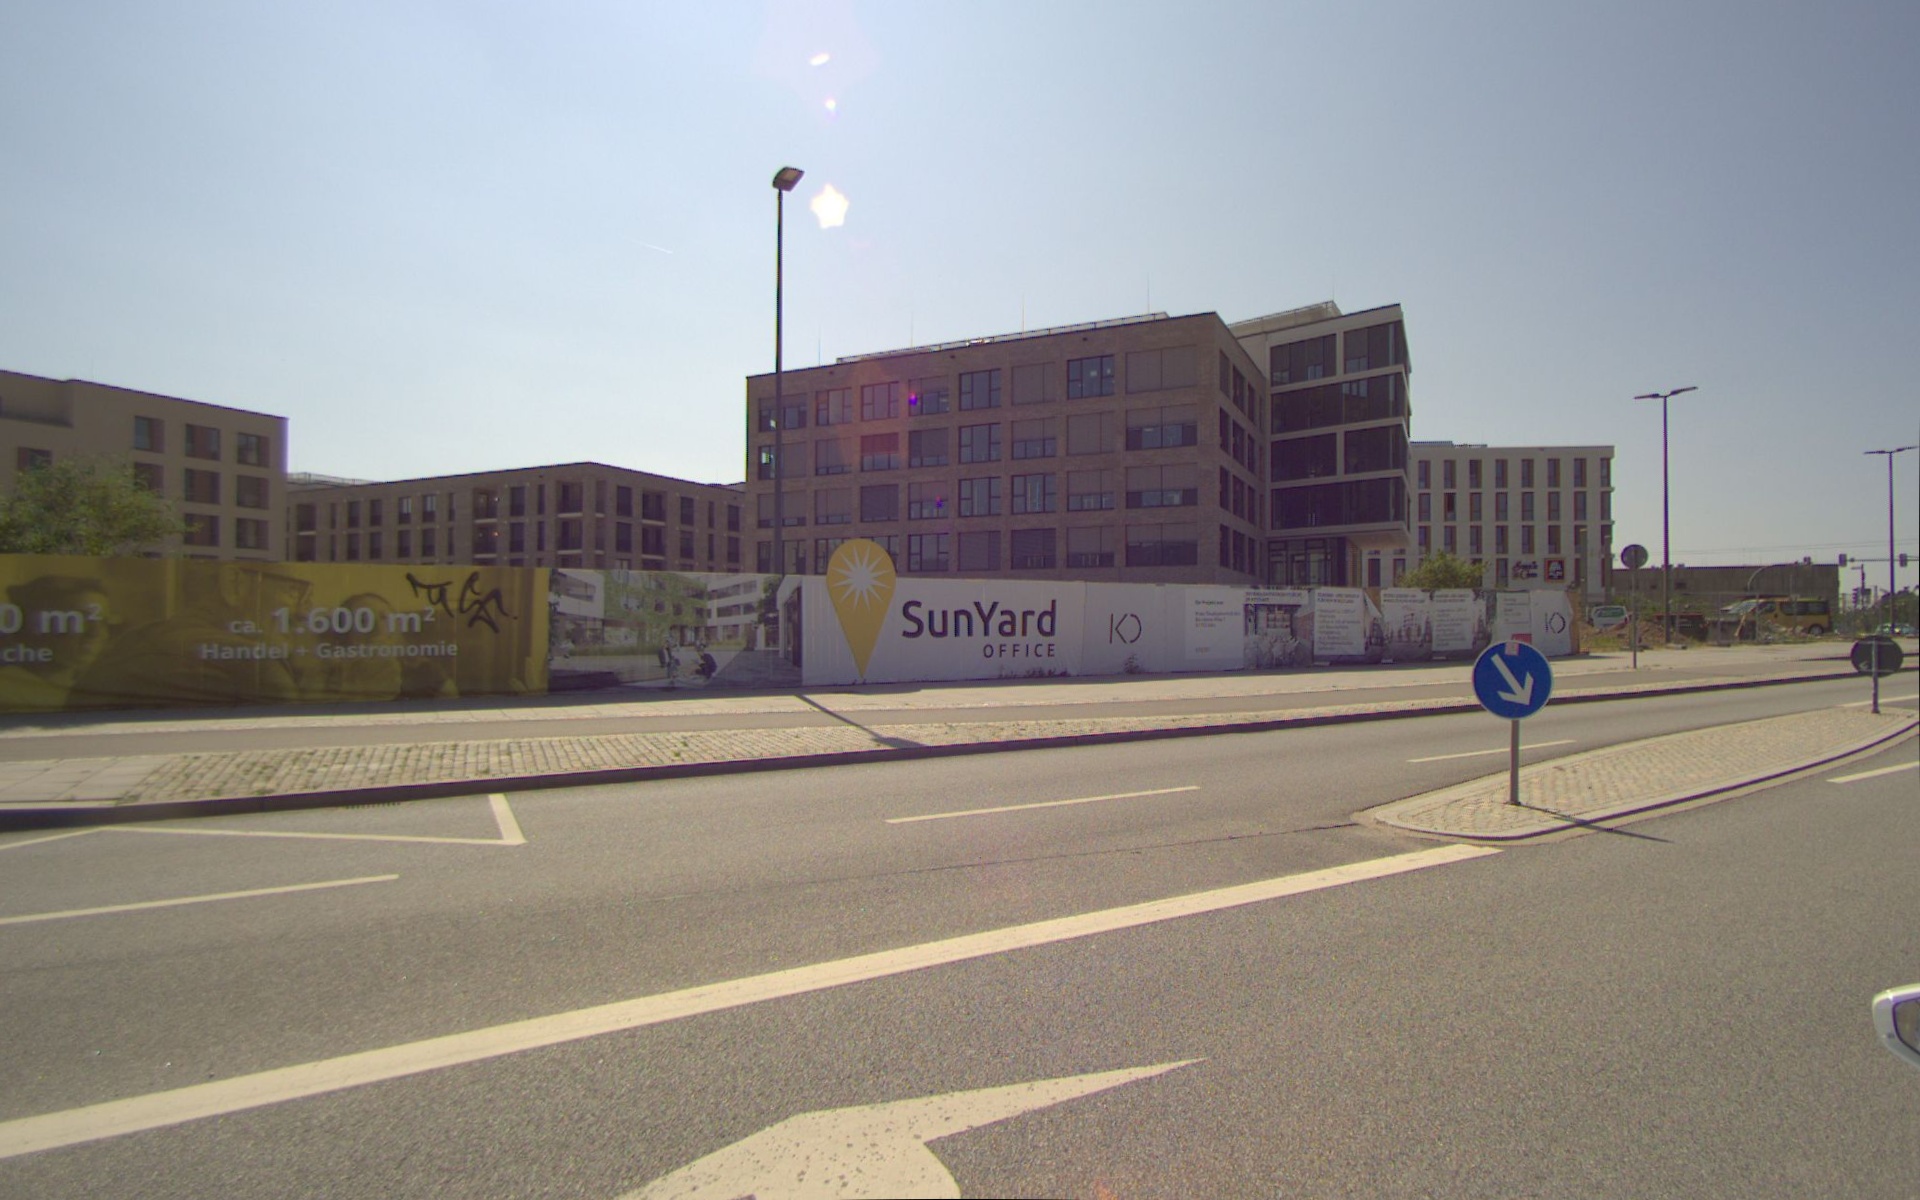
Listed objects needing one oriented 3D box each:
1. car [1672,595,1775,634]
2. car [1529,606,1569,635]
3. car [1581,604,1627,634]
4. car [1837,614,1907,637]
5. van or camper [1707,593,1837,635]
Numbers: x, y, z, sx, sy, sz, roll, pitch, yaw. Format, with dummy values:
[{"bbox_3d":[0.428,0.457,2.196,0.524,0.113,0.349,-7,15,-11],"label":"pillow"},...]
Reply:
[{"bbox_3d":[41.179,0.783,54.268,3.919,2.040,2.001,0,-1,9],"label":"car"},{"bbox_3d":[35.763,1.243,61.103,1.996,1.694,4.592,0,-1,29],"label":"car"},{"bbox_3d":[37.902,1.128,59.212,1.996,1.694,4.592,0,-1,29],"label":"car"},{"bbox_3d":[78.292,2.165,86.267,1.968,1.795,3.986,2,-1,-17],"label":"car"},{"bbox_3d":[40.813,0.724,50.612,4.622,1.922,2.001,2,-1,13],"label":"van or camper"}]
